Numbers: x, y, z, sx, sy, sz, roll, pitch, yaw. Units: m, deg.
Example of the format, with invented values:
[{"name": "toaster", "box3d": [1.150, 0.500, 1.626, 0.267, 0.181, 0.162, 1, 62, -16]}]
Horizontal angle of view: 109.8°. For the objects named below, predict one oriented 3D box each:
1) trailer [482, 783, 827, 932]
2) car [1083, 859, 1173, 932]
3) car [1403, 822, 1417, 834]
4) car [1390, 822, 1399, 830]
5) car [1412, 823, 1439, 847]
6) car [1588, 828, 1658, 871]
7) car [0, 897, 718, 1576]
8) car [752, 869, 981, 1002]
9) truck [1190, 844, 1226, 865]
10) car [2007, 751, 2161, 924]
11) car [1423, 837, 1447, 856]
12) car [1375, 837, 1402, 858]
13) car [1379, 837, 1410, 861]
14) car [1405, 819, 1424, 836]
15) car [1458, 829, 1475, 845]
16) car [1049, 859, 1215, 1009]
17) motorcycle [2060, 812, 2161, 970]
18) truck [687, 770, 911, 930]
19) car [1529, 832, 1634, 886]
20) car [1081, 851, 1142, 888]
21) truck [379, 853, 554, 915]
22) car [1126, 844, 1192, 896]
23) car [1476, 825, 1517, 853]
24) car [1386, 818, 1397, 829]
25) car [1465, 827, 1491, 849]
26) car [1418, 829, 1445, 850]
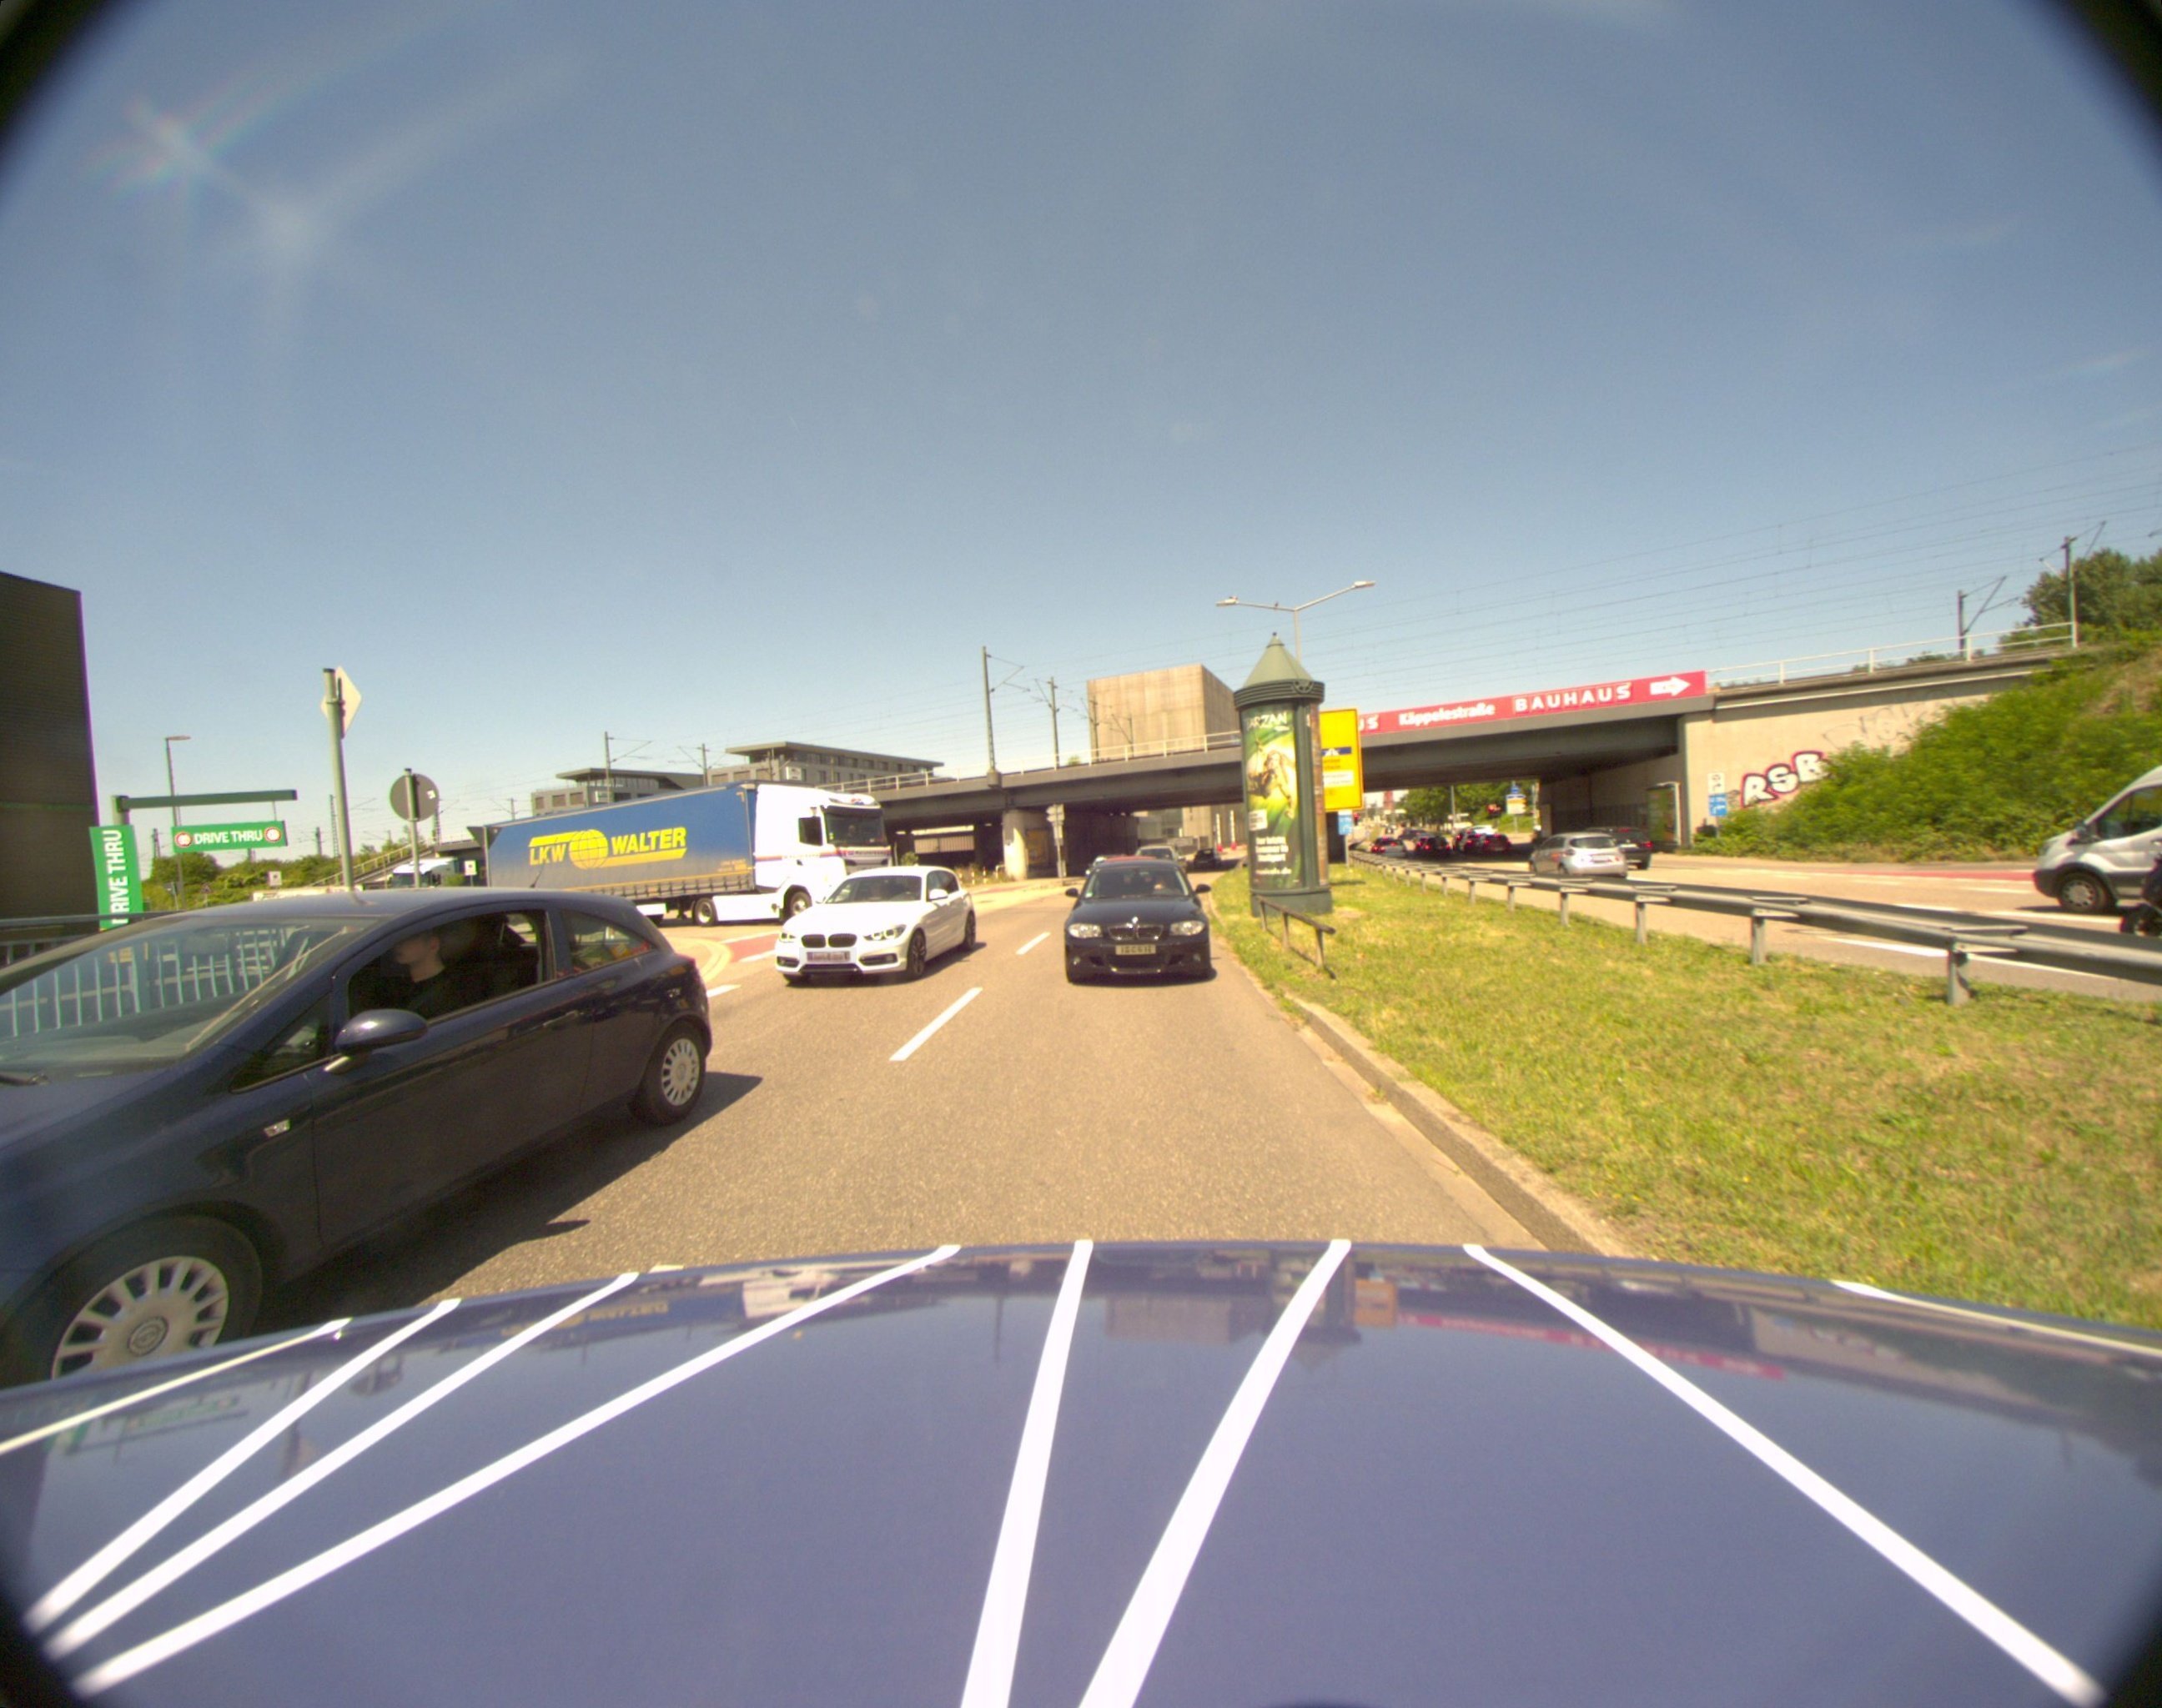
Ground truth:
[{"name": "trailer", "box3d": [-14.682, 0.388, 25.329, 13.872, 4.066, 2.504, -3, 1, 27]}, {"name": "car", "box3d": [1.172, 0.841, 17.056, 1.645, 1.391, 4.055, -1, 0, 8]}, {"name": "car", "box3d": [55.428, -4.390, 128.138, 1.836, 2.002, 4.005, -2, 1, 21]}, {"name": "car", "box3d": [83.130, -7.498, 201.413, 1.995, 2.002, 4.005, -2, 1, 22]}, {"name": "car", "box3d": [28.519, -1.587, 62.906, 1.904, 1.849, 4.006, -2, 1, 24]}, {"name": "car", "box3d": [21.121, -0.198, 29.725, 1.516, 1.533, 3.685, -2, 1, 25]}, {"name": "car", "box3d": [-3.333, 1.029, 3.031, 1.650, 1.435, 3.892, -3, 0, 4]}, {"name": "car", "box3d": [-2.809, 1.007, 10.984, 1.762, 1.435, 4.054, -1, 0, 6]}, {"name": "truck", "box3d": [10.214, 0.054, 60.823, 1.728, 1.493, 4.006, -2, 1, 26]}, {"name": "car", "box3d": [16.423, -0.278, 9.869, 2.098, 2.485, 5.813, -2, -1, 7]}, {"name": "car", "box3d": [23.883, -0.522, 51.250, 1.268, 1.178, 2.782, -2, 1, 27]}, {"name": "car", "box3d": [21.059, -0.485, 51.963, 1.410, 1.311, 3.266, -2, 1, 27]}, {"name": "car", "box3d": [19.153, -0.326, 46.399, 1.635, 1.395, 4.228, -1, 1, 24]}, {"name": "car", "box3d": [42.545, -3.354, 97.029, 1.995, 2.002, 4.005, -2, 1, 22]}, {"name": "car", "box3d": [31.038, -1.374, 61.137, 1.183, 1.241, 2.696, -2, 1, 27]}, {"name": "car", "box3d": [0.752, 0.863, 9.977, 1.681, 1.409, 4.057, -3, 1, 6]}, {"name": "motorcycle", "box3d": [11.744, 0.392, 7.718, 0.599, 1.668, 2.426, -3, 1, 5]}, {"name": "truck", "box3d": [-8.267, -0.022, 22.254, 5.749, 4.078, 2.580, -4, 1, 25]}, {"name": "car", "box3d": [15.854, 0.130, 24.292, 1.636, 1.558, 4.077, -2, 0, 16]}, {"name": "car", "box3d": [1.448, 0.663, 34.419, 1.714, 1.434, 4.004, -2, 1, 17]}, {"name": "truck", "box3d": [-47.584, 1.998, 60.081, 2.753, 4.079, 17.423, -3, 1, -11]}, {"name": "car", "box3d": [2.953, 0.523, 28.047, 1.844, 1.686, 3.703, -2, 1, 14]}, {"name": "car", "box3d": [27.028, -0.997, 49.571, 1.774, 1.658, 4.020, -2, 1, 21]}, {"name": "car", "box3d": [61.197, -5.975, 149.862, 1.836, 2.002, 4.005, -2, 1, 21]}, {"name": "car", "box3d": [28.808, -1.178, 55.124, 1.571, 1.494, 3.412, -2, 1, 27]}, {"name": "car", "box3d": [26.315, -1.098, 56.939, 1.617, 1.468, 3.438, -2, 1, 27]}]
